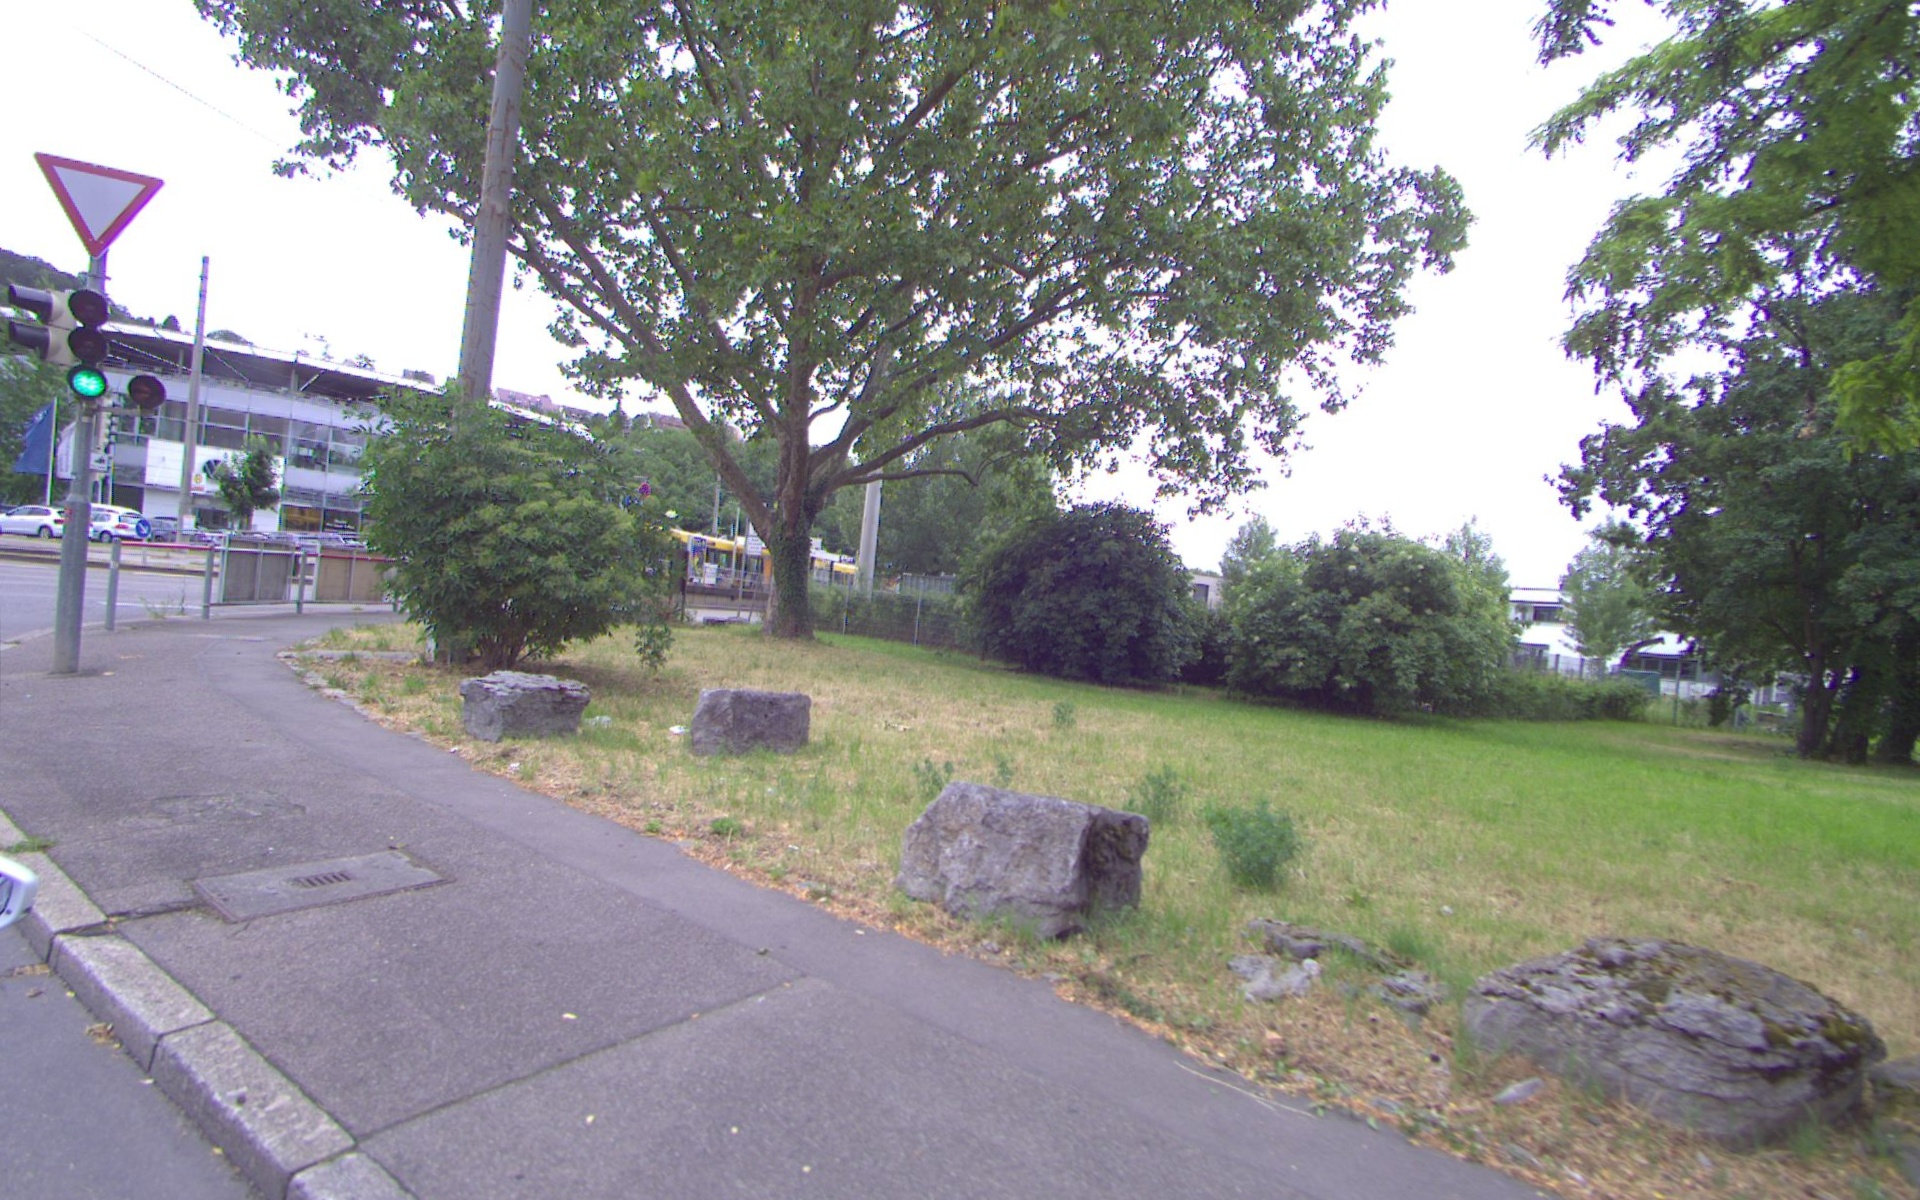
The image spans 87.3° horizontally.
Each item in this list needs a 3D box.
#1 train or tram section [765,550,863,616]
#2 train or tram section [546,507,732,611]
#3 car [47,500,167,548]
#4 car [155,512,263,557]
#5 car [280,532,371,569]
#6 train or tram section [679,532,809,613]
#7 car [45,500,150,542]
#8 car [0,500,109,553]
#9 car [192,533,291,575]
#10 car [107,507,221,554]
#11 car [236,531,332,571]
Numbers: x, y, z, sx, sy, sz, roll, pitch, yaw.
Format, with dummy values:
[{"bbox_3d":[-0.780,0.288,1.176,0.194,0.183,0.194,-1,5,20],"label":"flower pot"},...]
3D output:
[{"bbox_3d":[-10.131,-1.028,71.613,2.697,4.016,11.914,6,0,12],"label":"train or tram section"},{"bbox_3d":[-14.866,-1.652,48.207,2.697,4.016,11.914,6,0,12],"label":"train or tram section"},{"bbox_3d":[-38.389,-3.415,45.339,3.923,1.492,1.818,6,-4,7],"label":"car"},{"bbox_3d":[-37.550,-3.241,50.336,3.923,1.571,1.932,6,-4,7],"label":"car"},{"bbox_3d":[-35.962,-2.816,57.070,3.923,1.574,1.928,6,0,7],"label":"car"},{"bbox_3d":[-12.490,-1.406,59.916,2.697,4.016,11.914,6,0,12],"label":"train or tram section"},{"bbox_3d":[-47.383,-4.327,55.324,3.926,1.570,1.930,7,-4,-1],"label":"car"},{"bbox_3d":[-39.126,-3.148,42.941,3.923,1.657,2.004,6,-4,7],"label":"car"},{"bbox_3d":[-37.499,-2.395,52.531,3.923,1.571,1.733,6,-4,7],"label":"car"},{"bbox_3d":[-37.864,-3.301,47.900,3.923,1.571,1.932,6,-4,7],"label":"car"},{"bbox_3d":[-36.774,-2.655,54.774,3.923,1.571,1.932,6,-4,7],"label":"car"}]
